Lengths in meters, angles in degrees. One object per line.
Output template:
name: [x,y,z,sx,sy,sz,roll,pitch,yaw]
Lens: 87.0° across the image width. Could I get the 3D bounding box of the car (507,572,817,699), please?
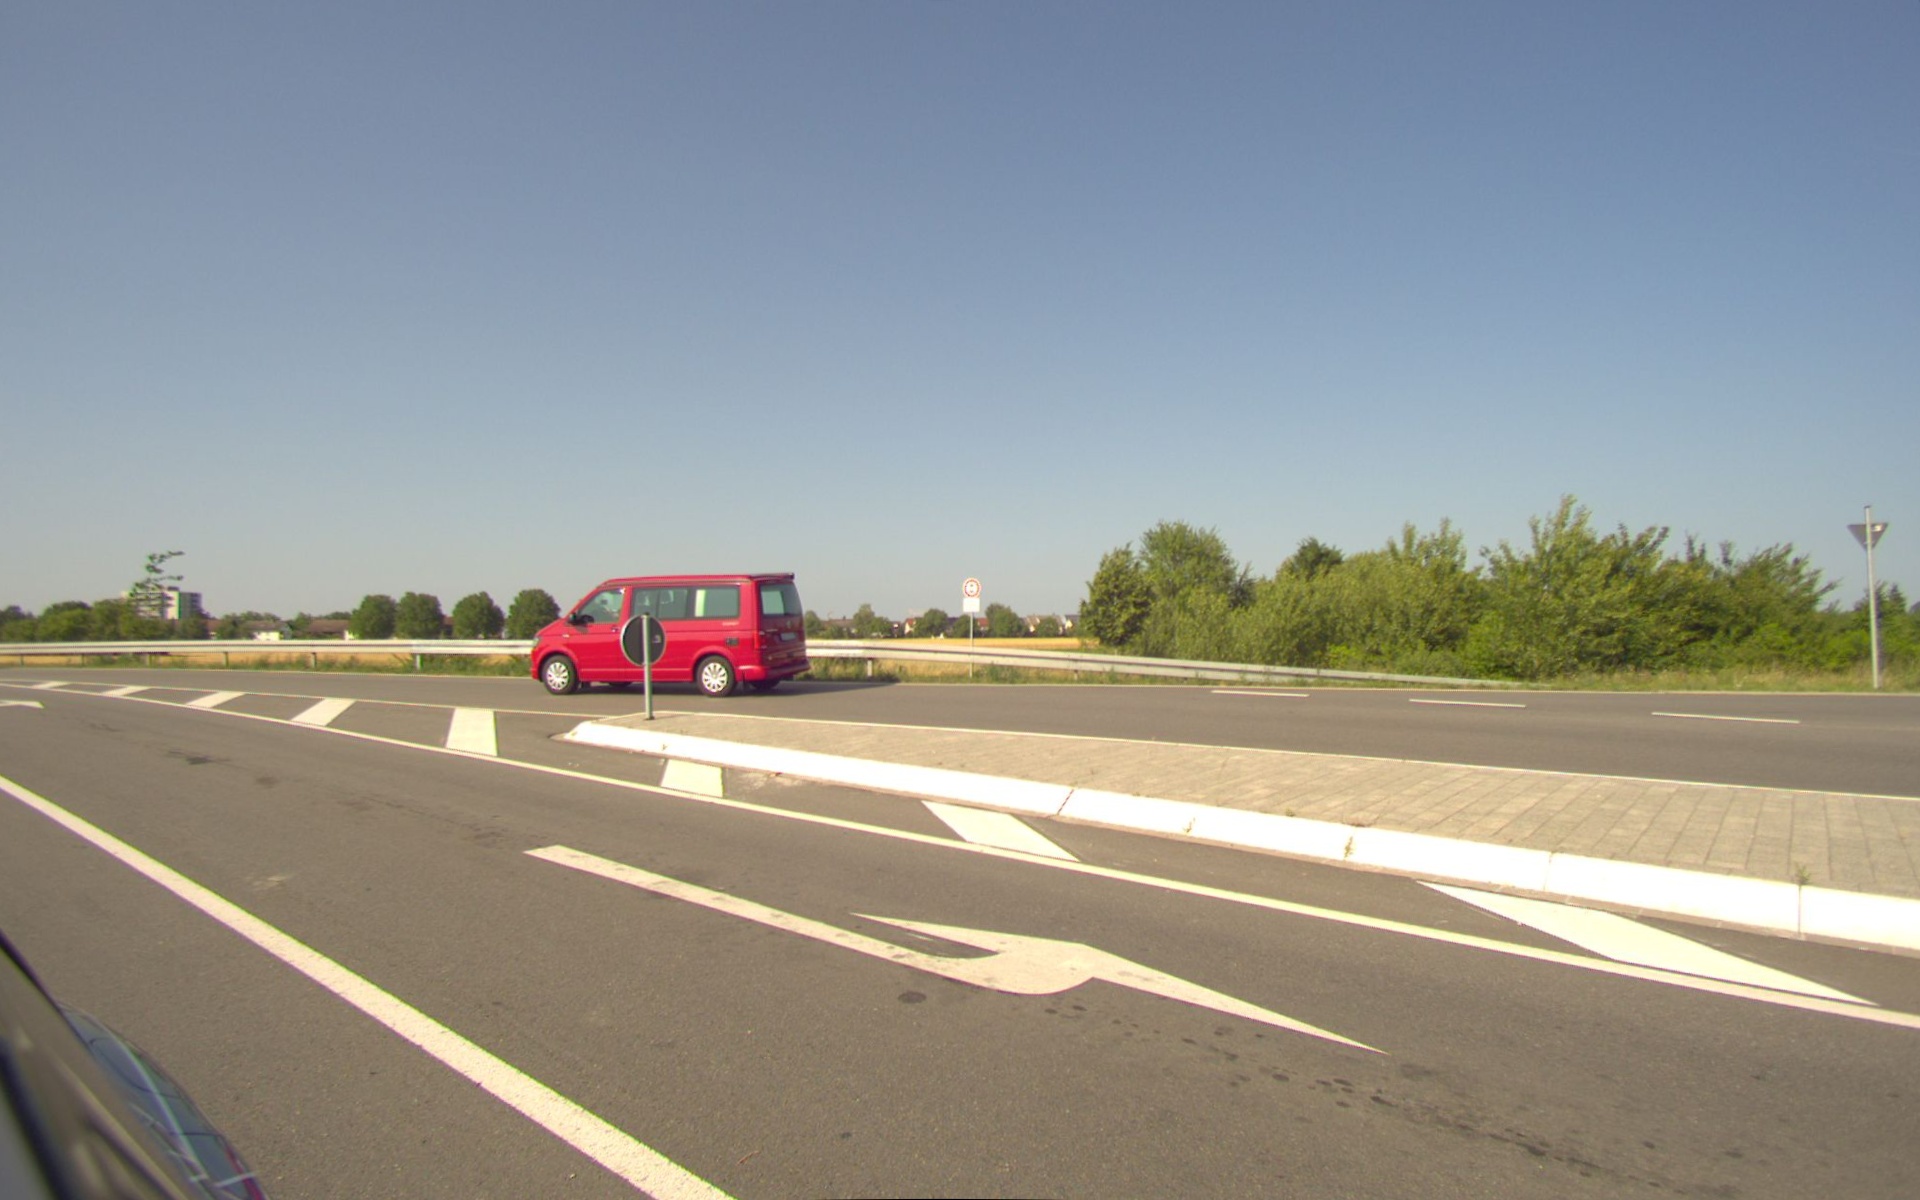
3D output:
car: [-5.085,0.641,17.336,4.881,1.955,1.830,-2,-2,16]
